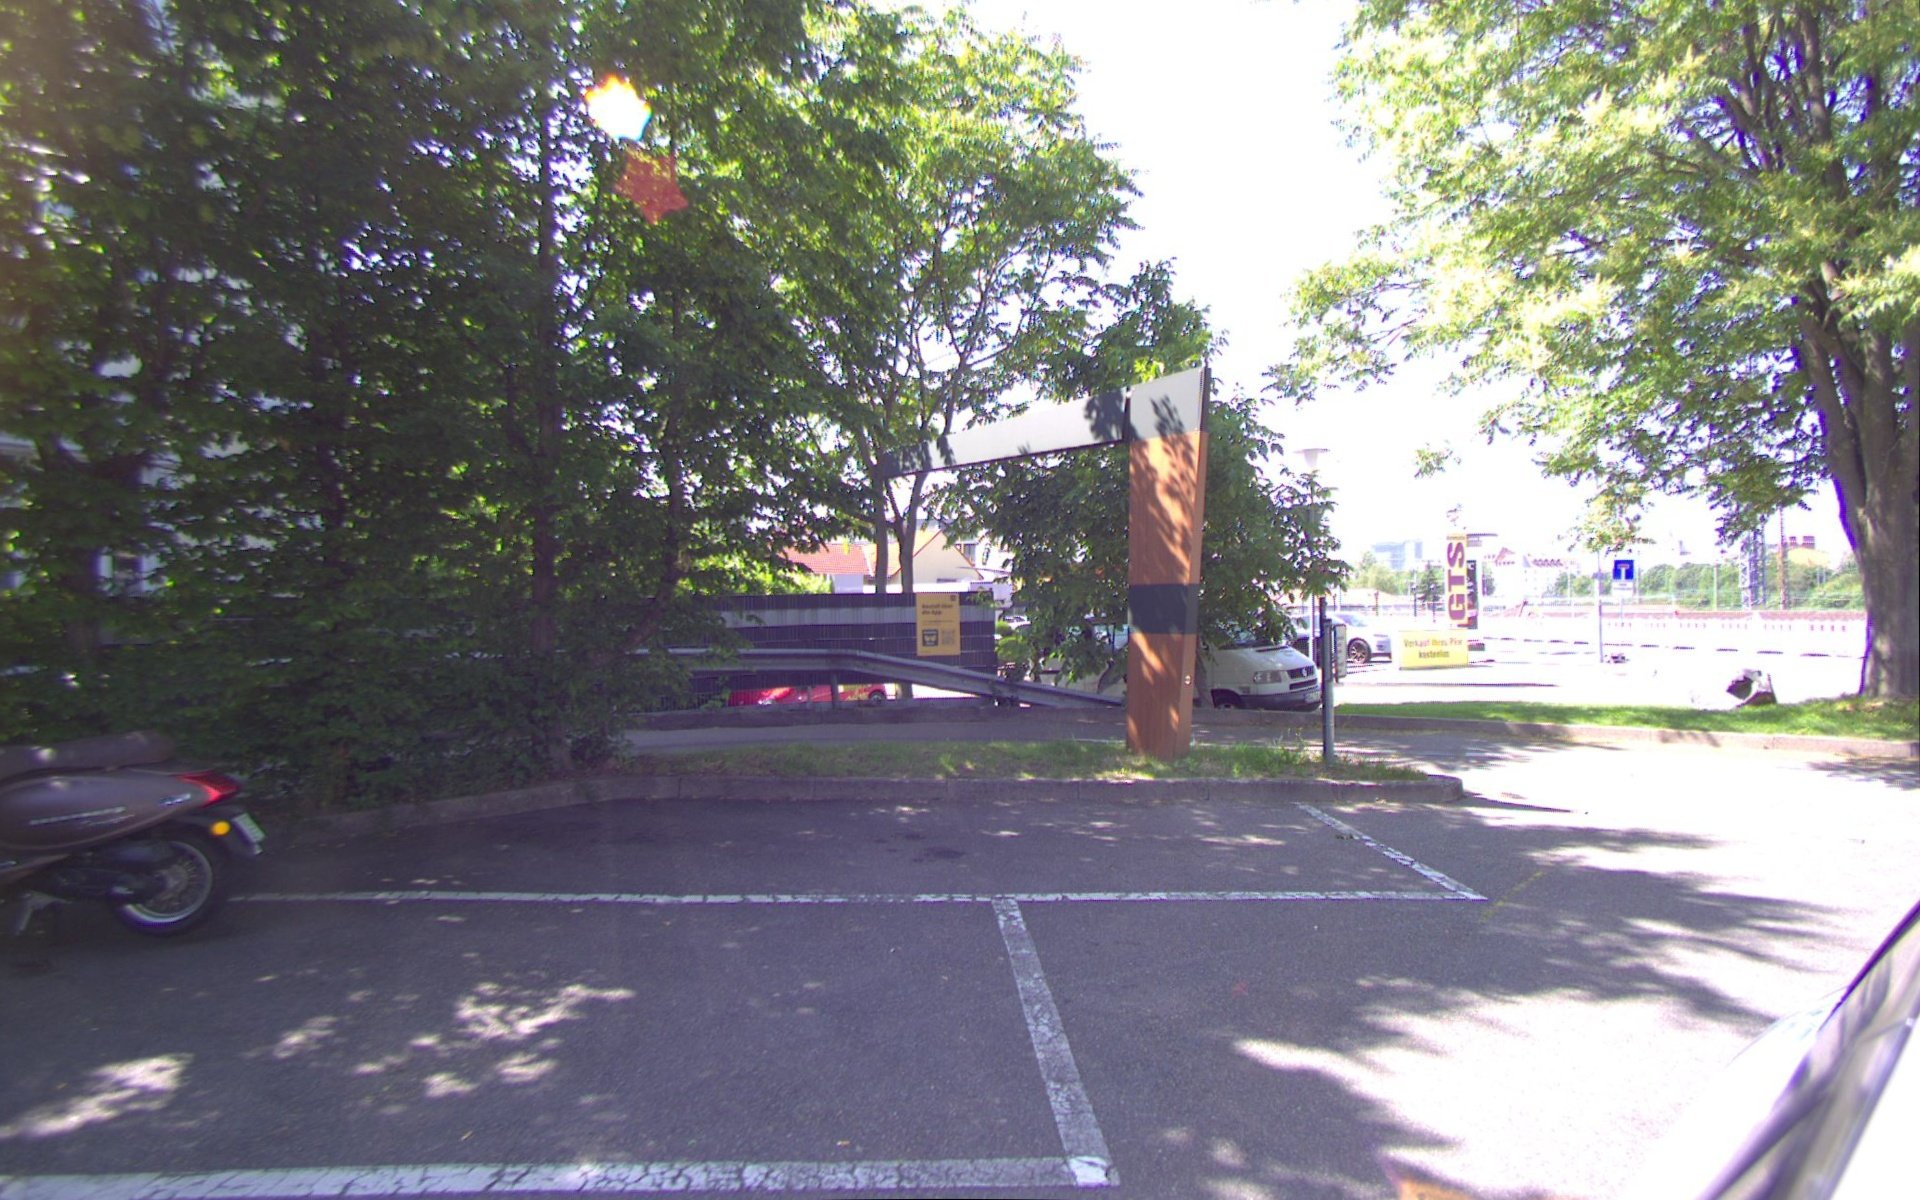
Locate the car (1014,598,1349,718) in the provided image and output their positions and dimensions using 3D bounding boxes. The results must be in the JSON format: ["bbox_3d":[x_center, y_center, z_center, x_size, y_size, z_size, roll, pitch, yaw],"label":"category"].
[{"bbox_3d":[3.300,0.811,16.006,1.924,1.603,5.020,2,-2,-42],"label":"car"}]

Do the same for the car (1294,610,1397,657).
[{"bbox_3d":[14.126,1.205,37.308,1.825,1.650,4.004,0,-1,-7],"label":"car"}]

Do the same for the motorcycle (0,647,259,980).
[{"bbox_3d":[-3.756,0.803,3.958,1.572,1.184,0.571,0,-1,-14],"label":"motorcycle"}]

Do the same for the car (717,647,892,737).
[{"bbox_3d":[-3.004,1.745,20.061,1.478,1.396,3.369,0,1,38],"label":"car"}]

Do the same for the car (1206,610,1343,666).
[{"bbox_3d":[9.715,1.170,31.679,2.010,1.615,4.431,0,-2,-16],"label":"car"}]

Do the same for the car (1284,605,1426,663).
[{"bbox_3d":[12.736,1.093,32.893,1.959,1.748,4.004,1,-2,-27],"label":"car"}]

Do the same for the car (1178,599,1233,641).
[{"bbox_3d":[10.736,0.875,44.546,1.852,1.760,4.710,0,-1,8],"label":"car"}]
